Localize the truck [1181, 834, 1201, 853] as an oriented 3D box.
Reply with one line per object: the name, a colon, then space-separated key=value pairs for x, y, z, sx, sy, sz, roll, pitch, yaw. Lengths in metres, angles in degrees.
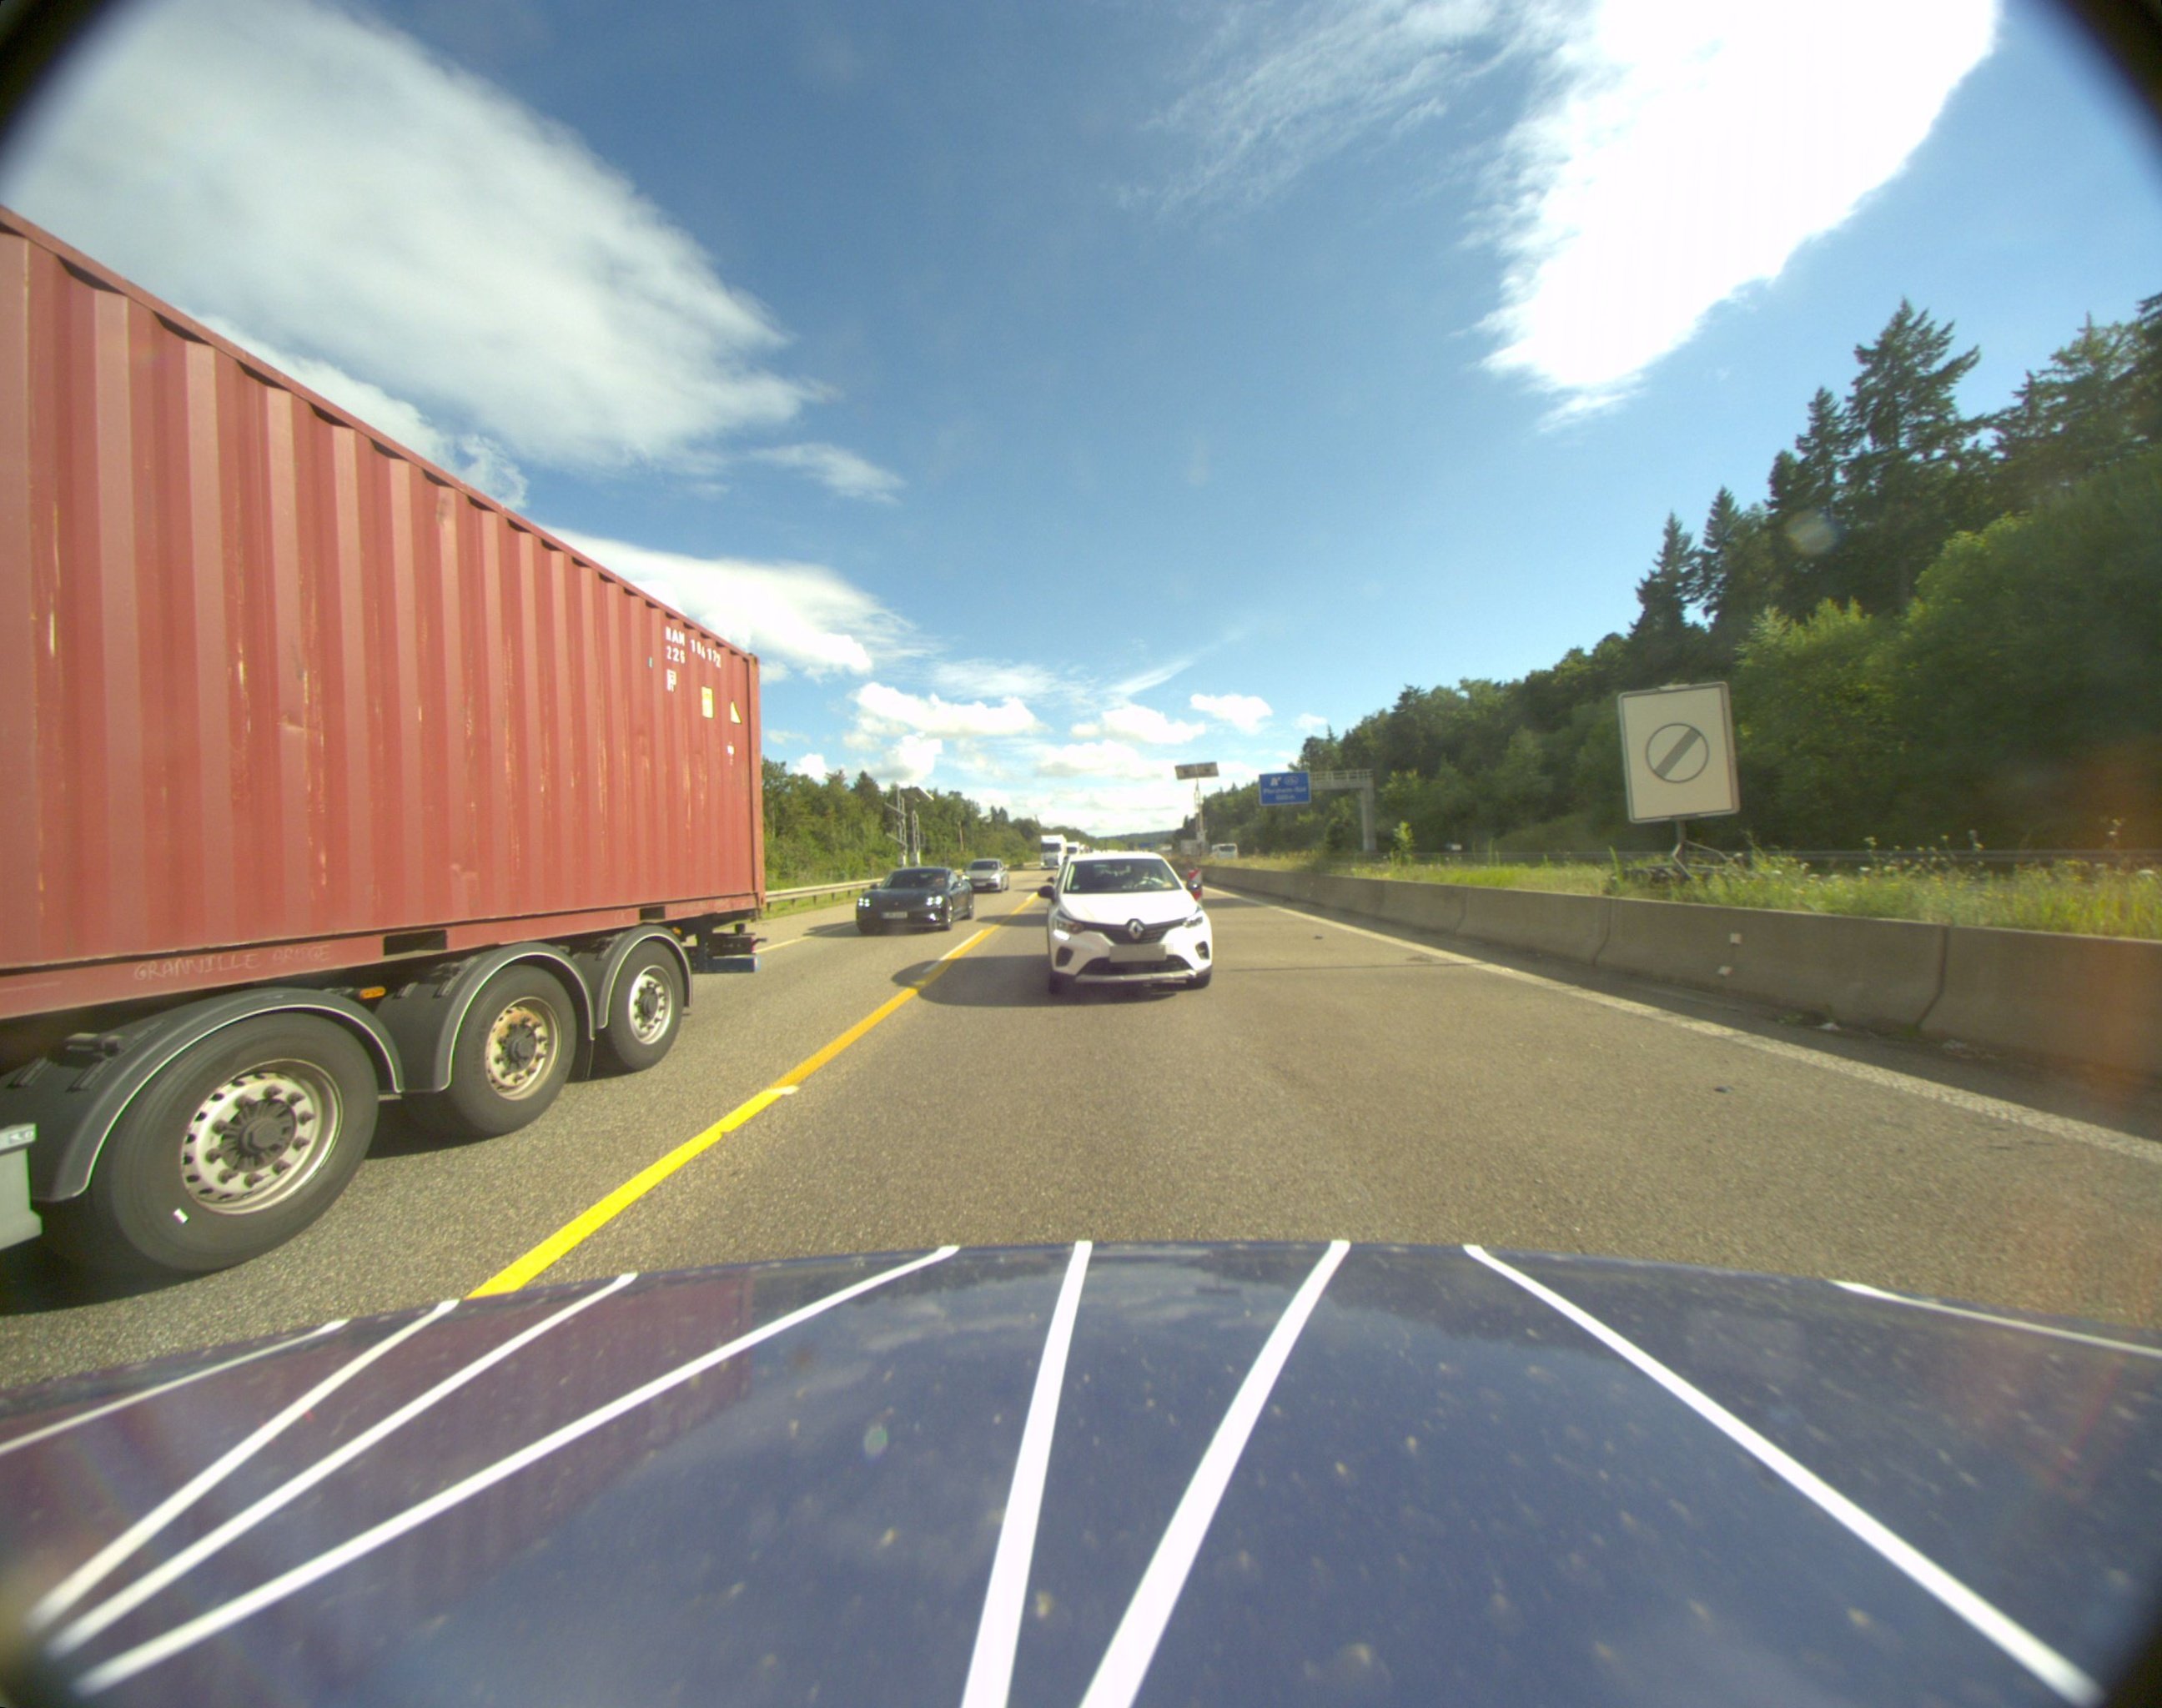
truck: x=23.495 y=-2.191 z=162.618 sx=2.807 sy=3.969 sz=10.185 roll=-2 pitch=0 yaw=1

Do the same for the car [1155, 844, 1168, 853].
car: x=13.396 y=-0.877 z=127.001 sx=1.783 sy=1.379 sz=4.310 roll=-2 pitch=1 yaw=1

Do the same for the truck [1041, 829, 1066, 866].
truck: x=-3.238 y=-0.783 z=90.862 sx=2.641 sy=4.092 sz=8.193 roll=-2 pitch=0 yaw=-1

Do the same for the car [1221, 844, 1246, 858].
car: x=16.741 y=-0.355 z=83.649 sx=1.963 sy=1.355 sz=4.287 roll=-2 pitch=1 yaw=1

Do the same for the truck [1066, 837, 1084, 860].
truck: x=-0.975 y=-1.033 z=139.832 sx=2.640 sy=4.092 sz=8.196 roll=-2 pitch=0 yaw=3

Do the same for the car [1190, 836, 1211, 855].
car: x=21.857 y=-1.528 z=139.098 sx=2.493 sy=3.351 sz=7.451 roll=-2 pitch=1 yaw=0

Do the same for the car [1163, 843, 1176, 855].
car: x=19.039 y=-1.203 z=164.063 sx=2.165 sy=2.437 sz=6.330 roll=-3 pitch=1 yaw=1

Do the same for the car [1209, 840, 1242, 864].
car: x=12.890 y=-0.185 z=67.955 sx=1.998 sy=2.002 sz=4.831 roll=-2 pitch=1 yaw=1

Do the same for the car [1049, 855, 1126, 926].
car: x=0.182 y=0.825 z=18.834 sx=1.692 sy=1.471 sz=3.754 roll=-2 pitch=1 yaw=1

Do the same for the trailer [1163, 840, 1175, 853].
trailer: x=26.111 y=-2.278 z=225.677 sx=2.797 sy=3.901 sz=8.487 roll=-2 pitch=1 yaw=1

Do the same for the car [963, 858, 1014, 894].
car: x=-4.211 y=0.957 z=35.042 sx=1.762 sy=1.471 sz=3.967 roll=-2 pitch=1 yaw=1

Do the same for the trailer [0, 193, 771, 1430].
trailer: x=-4.514 y=-0.117 z=1.633 sx=2.478 sy=3.753 sz=12.135 roll=-2 pitch=0 yaw=0

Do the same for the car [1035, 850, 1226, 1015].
car: x=0.446 y=0.770 z=9.489 sx=1.840 sy=1.528 sz=3.882 roll=-2 pitch=1 yaw=-1

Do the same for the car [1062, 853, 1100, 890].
car: x=0.043 y=0.770 z=35.173 sx=1.633 sy=1.548 sz=3.754 roll=-2 pitch=0 yaw=1

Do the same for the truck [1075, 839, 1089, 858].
truck: x=0.276 y=-1.224 z=173.754 sx=2.640 sy=4.092 sz=8.196 roll=-2 pitch=0 yaw=3

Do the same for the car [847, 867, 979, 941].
car: x=-3.712 y=1.057 z=17.638 sx=1.933 sy=1.342 sz=4.477 roll=-2 pitch=0 yaw=1
